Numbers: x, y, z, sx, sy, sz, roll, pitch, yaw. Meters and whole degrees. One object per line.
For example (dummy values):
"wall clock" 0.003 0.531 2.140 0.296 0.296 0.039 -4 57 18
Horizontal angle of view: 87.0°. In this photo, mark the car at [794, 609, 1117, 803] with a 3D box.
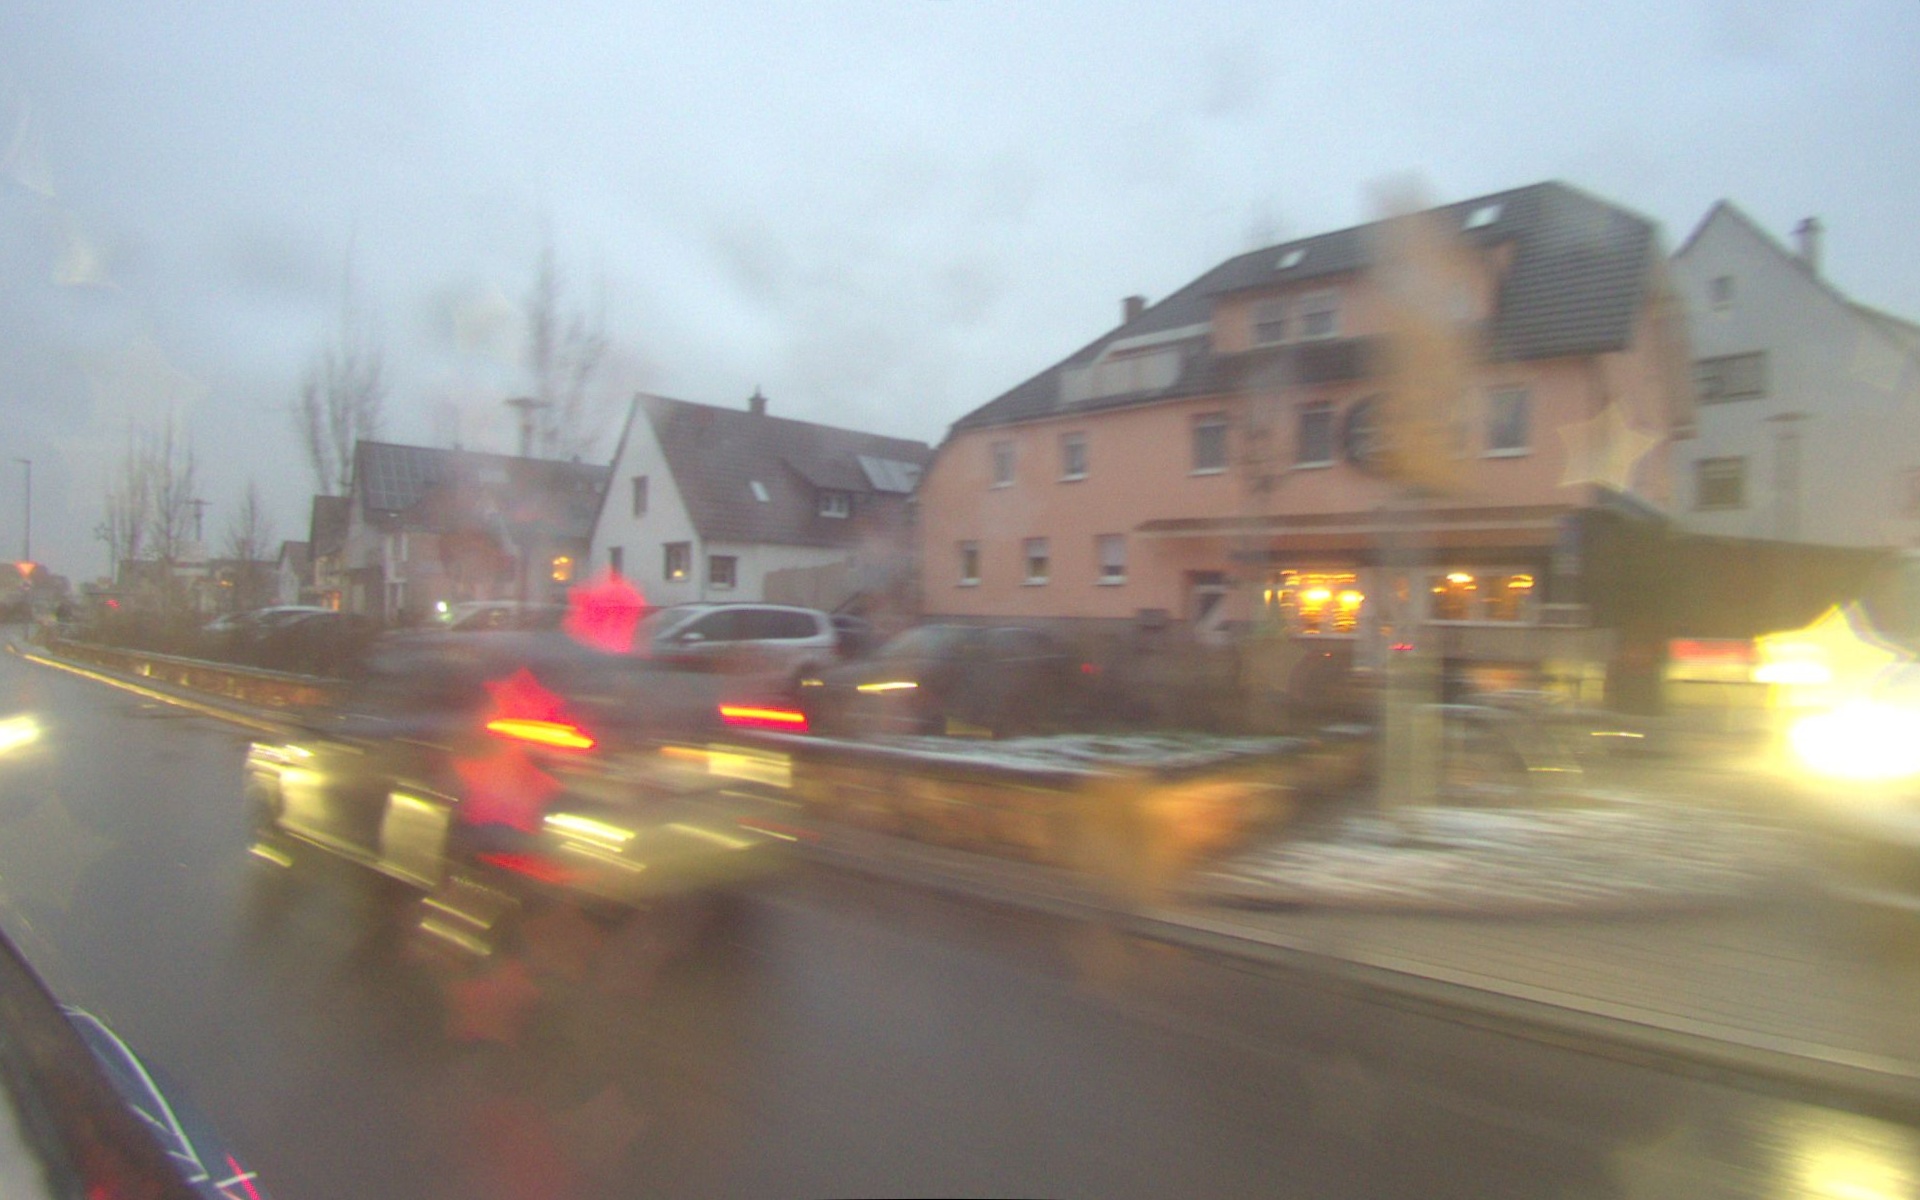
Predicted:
"car" 0.104 1.205 12.411 1.749 1.966 3.985 -2 -4 41

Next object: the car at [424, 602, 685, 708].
"car" -7.952 1.035 20.188 1.868 1.881 4.455 -1 -2 41

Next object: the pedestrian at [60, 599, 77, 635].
"pedestrian" -50.344 0.954 57.161 0.547 2.047 0.657 -2 -1 39

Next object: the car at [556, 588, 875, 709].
"car" -3.854 0.771 16.649 2.000 1.697 4.811 -3 -3 44

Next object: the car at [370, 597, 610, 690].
"car" -10.107 0.922 22.045 1.844 1.815 4.367 -1 -2 41

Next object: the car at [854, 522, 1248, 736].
"car" 1.068 0.290 10.154 1.999 1.697 3.944 -1 -2 42

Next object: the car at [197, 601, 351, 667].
"car" -22.144 1.149 32.762 1.749 1.966 3.755 -2 -4 41

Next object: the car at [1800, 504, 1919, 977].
"car" 6.673 0.552 5.279 5.683 1.961 1.996 0 -1 -34

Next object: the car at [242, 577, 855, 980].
"car" -2.487 0.730 5.652 3.837 1.491 1.602 -2 -3 41

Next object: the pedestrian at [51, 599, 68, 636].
"pedestrian" -50.163 0.964 56.380 0.604 2.029 0.665 -1 0 42
